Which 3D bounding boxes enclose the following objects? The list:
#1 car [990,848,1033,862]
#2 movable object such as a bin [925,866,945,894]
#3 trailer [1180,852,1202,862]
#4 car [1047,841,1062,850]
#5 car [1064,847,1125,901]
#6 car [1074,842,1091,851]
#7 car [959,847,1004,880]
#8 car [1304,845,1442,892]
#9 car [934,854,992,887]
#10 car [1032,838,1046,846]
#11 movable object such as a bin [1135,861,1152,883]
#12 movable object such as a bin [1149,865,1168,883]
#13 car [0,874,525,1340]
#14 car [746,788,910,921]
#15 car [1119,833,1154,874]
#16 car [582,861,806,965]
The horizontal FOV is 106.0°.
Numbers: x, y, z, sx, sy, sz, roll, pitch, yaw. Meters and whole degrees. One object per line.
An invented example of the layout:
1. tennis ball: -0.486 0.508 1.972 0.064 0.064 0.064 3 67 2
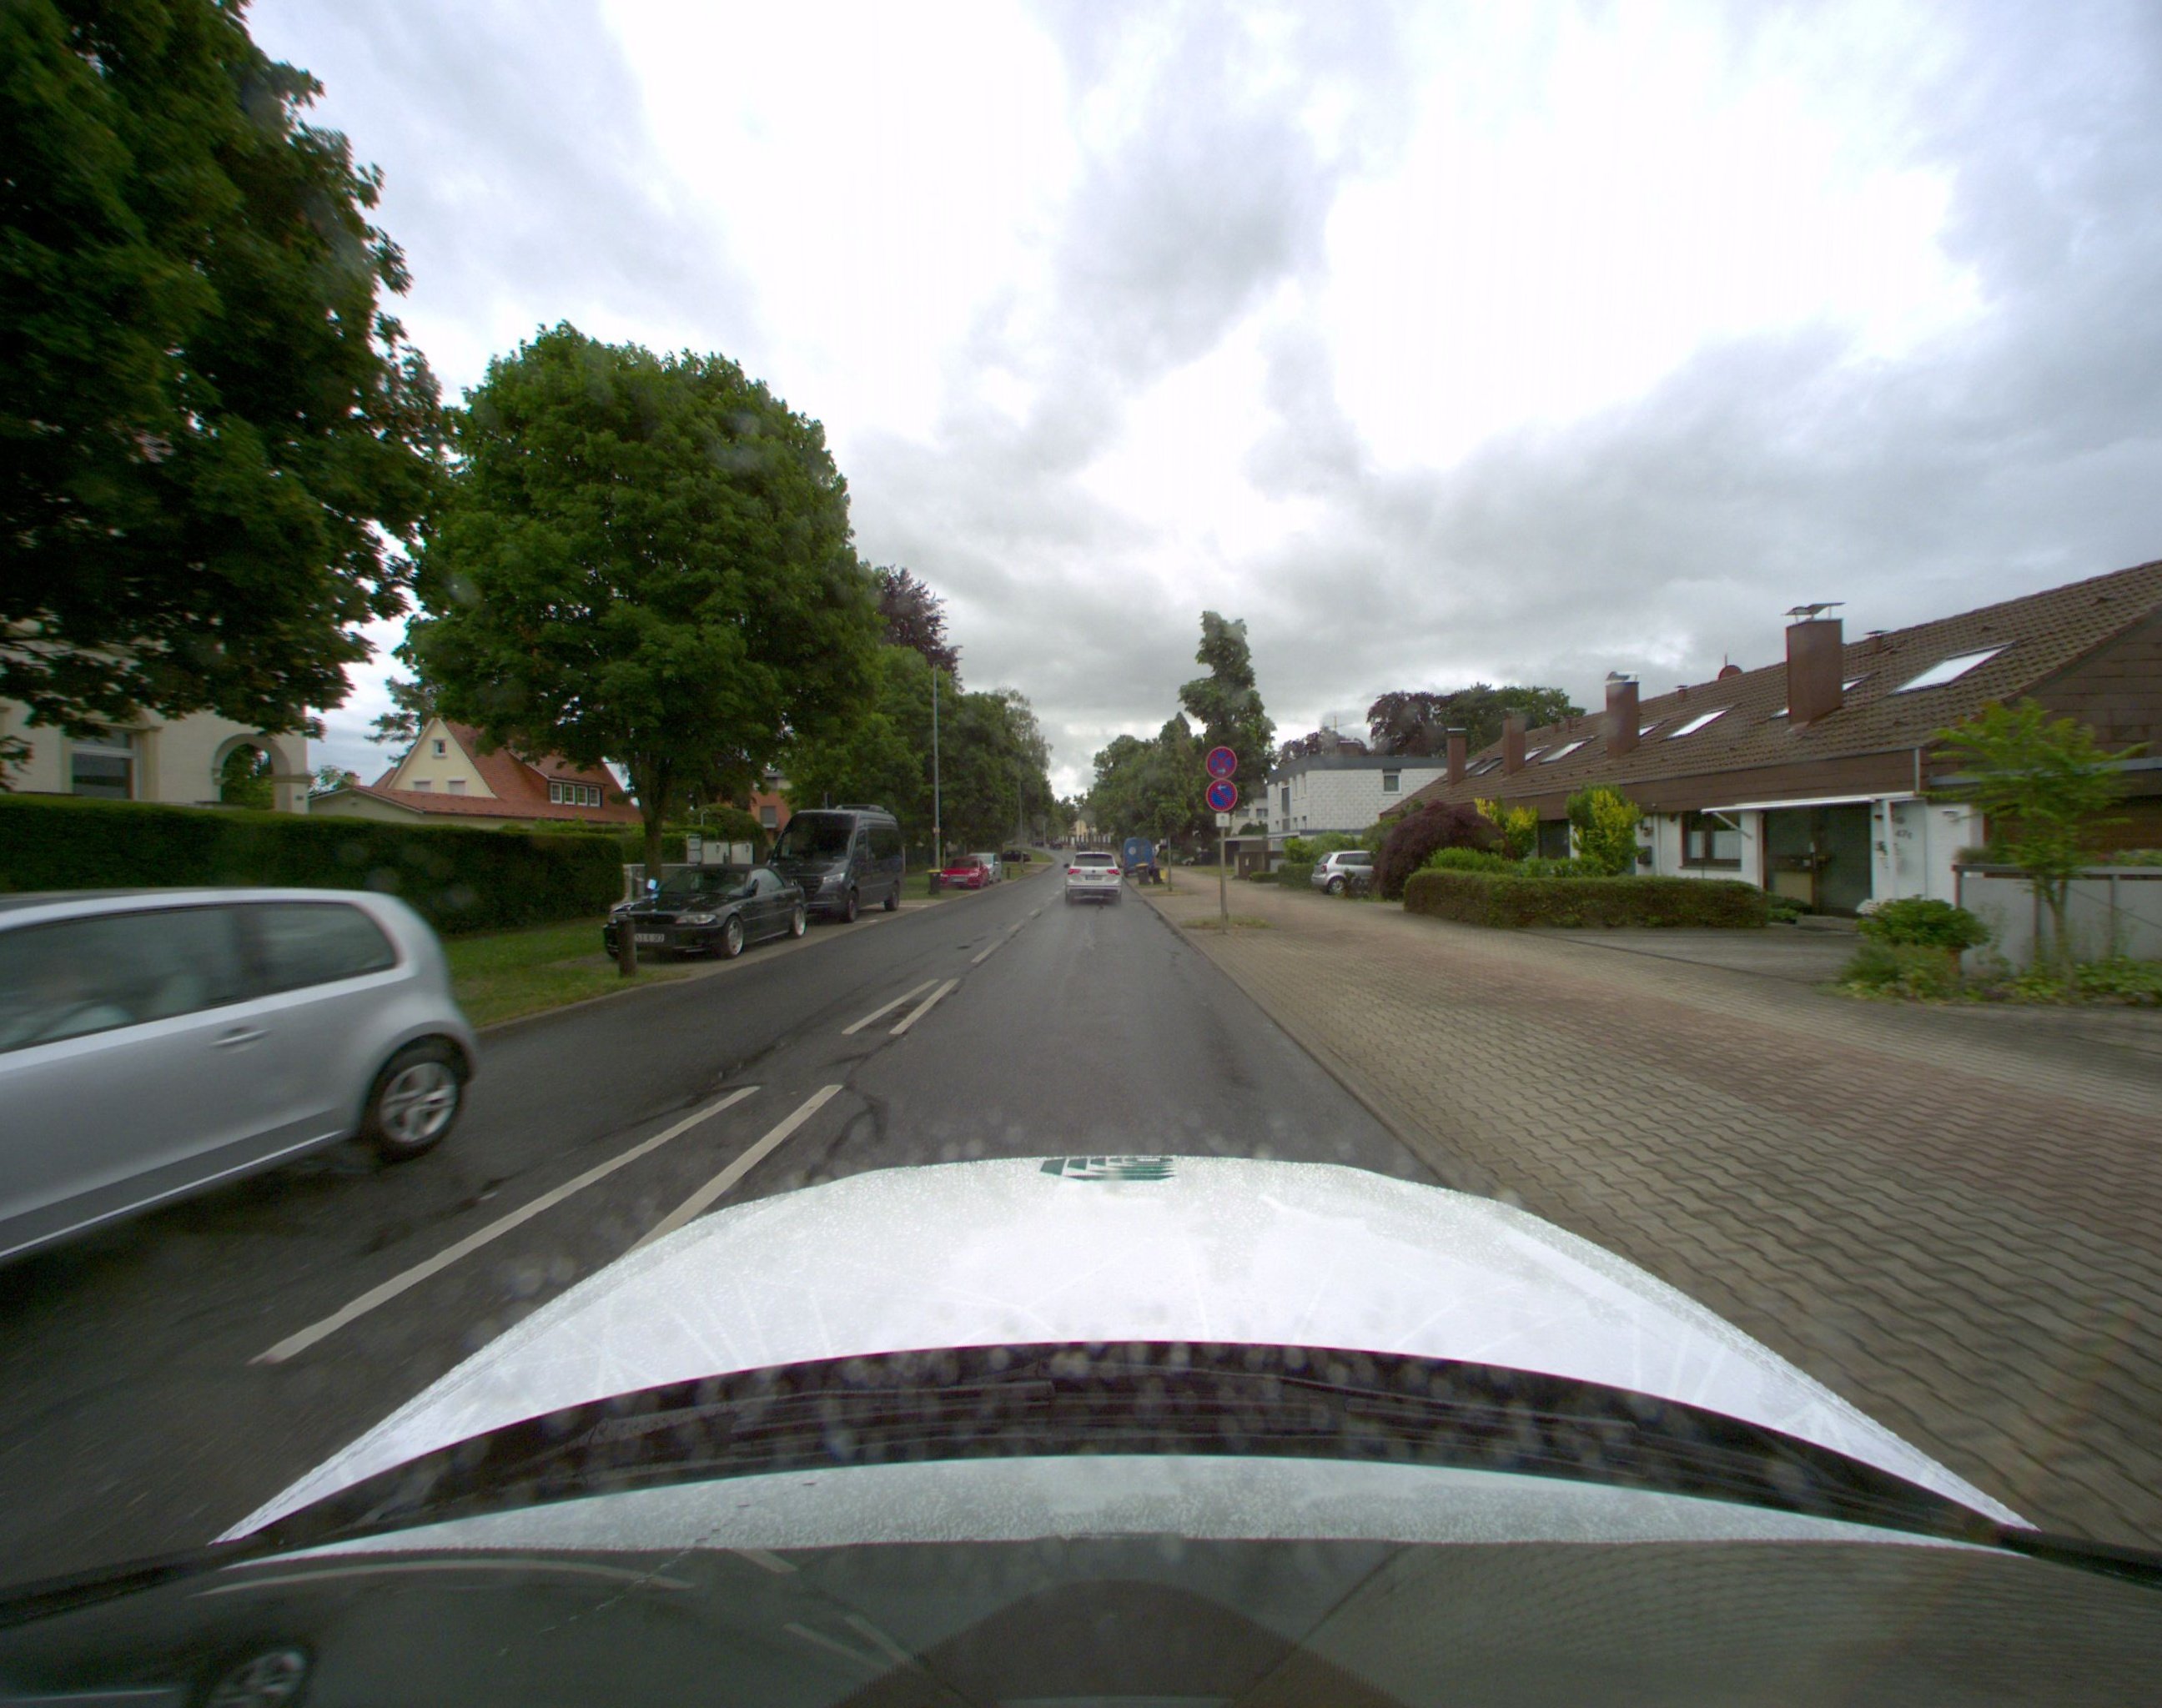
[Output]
1. car: -7.272 0.139 84.882 4.198 1.362 1.692 1 0 5
2. movable object such as a bin: -5.182 0.911 28.881 0.555 0.953 0.550 0 0 4
3. trailer: 10.654 0.288 78.925 2.033 0.883 1.366 1 0 3
4. car: -4.493 -1.511 138.686 1.646 1.427 3.979 1 2 -16
5. car: 0.421 0.647 27.410 1.859 1.651 3.999 -1 0 0
6. car: 0.202 -1.188 130.208 1.647 1.427 3.976 1 2 -18
7. car: -5.251 0.472 43.408 1.750 1.627 4.234 0 0 2
8. car: 9.709 0.475 27.320 3.975 1.442 1.846 -1 0 -1
9. car: -5.377 0.701 37.721 1.987 1.403 4.557 0 0 0
10. car: -7.923 -2.367 153.702 1.646 1.427 3.979 1 2 -16
11. movable object such as a bin: 3.048 0.878 39.759 0.608 1.015 0.566 -5 -2 26
12. movable object such as a bin: 3.719 0.942 39.121 0.653 0.800 0.604 -4 -1 26
13. car: -4.300 0.867 3.238 1.586 1.464 3.458 -1 0 5
14. car: -5.878 -0.014 19.898 1.986 2.728 5.940 1 0 1
15. car: 3.794 -0.059 56.102 1.987 2.586 5.634 -2 0 1
16. car: -5.898 0.816 12.969 1.717 1.408 3.825 0 -1 0
